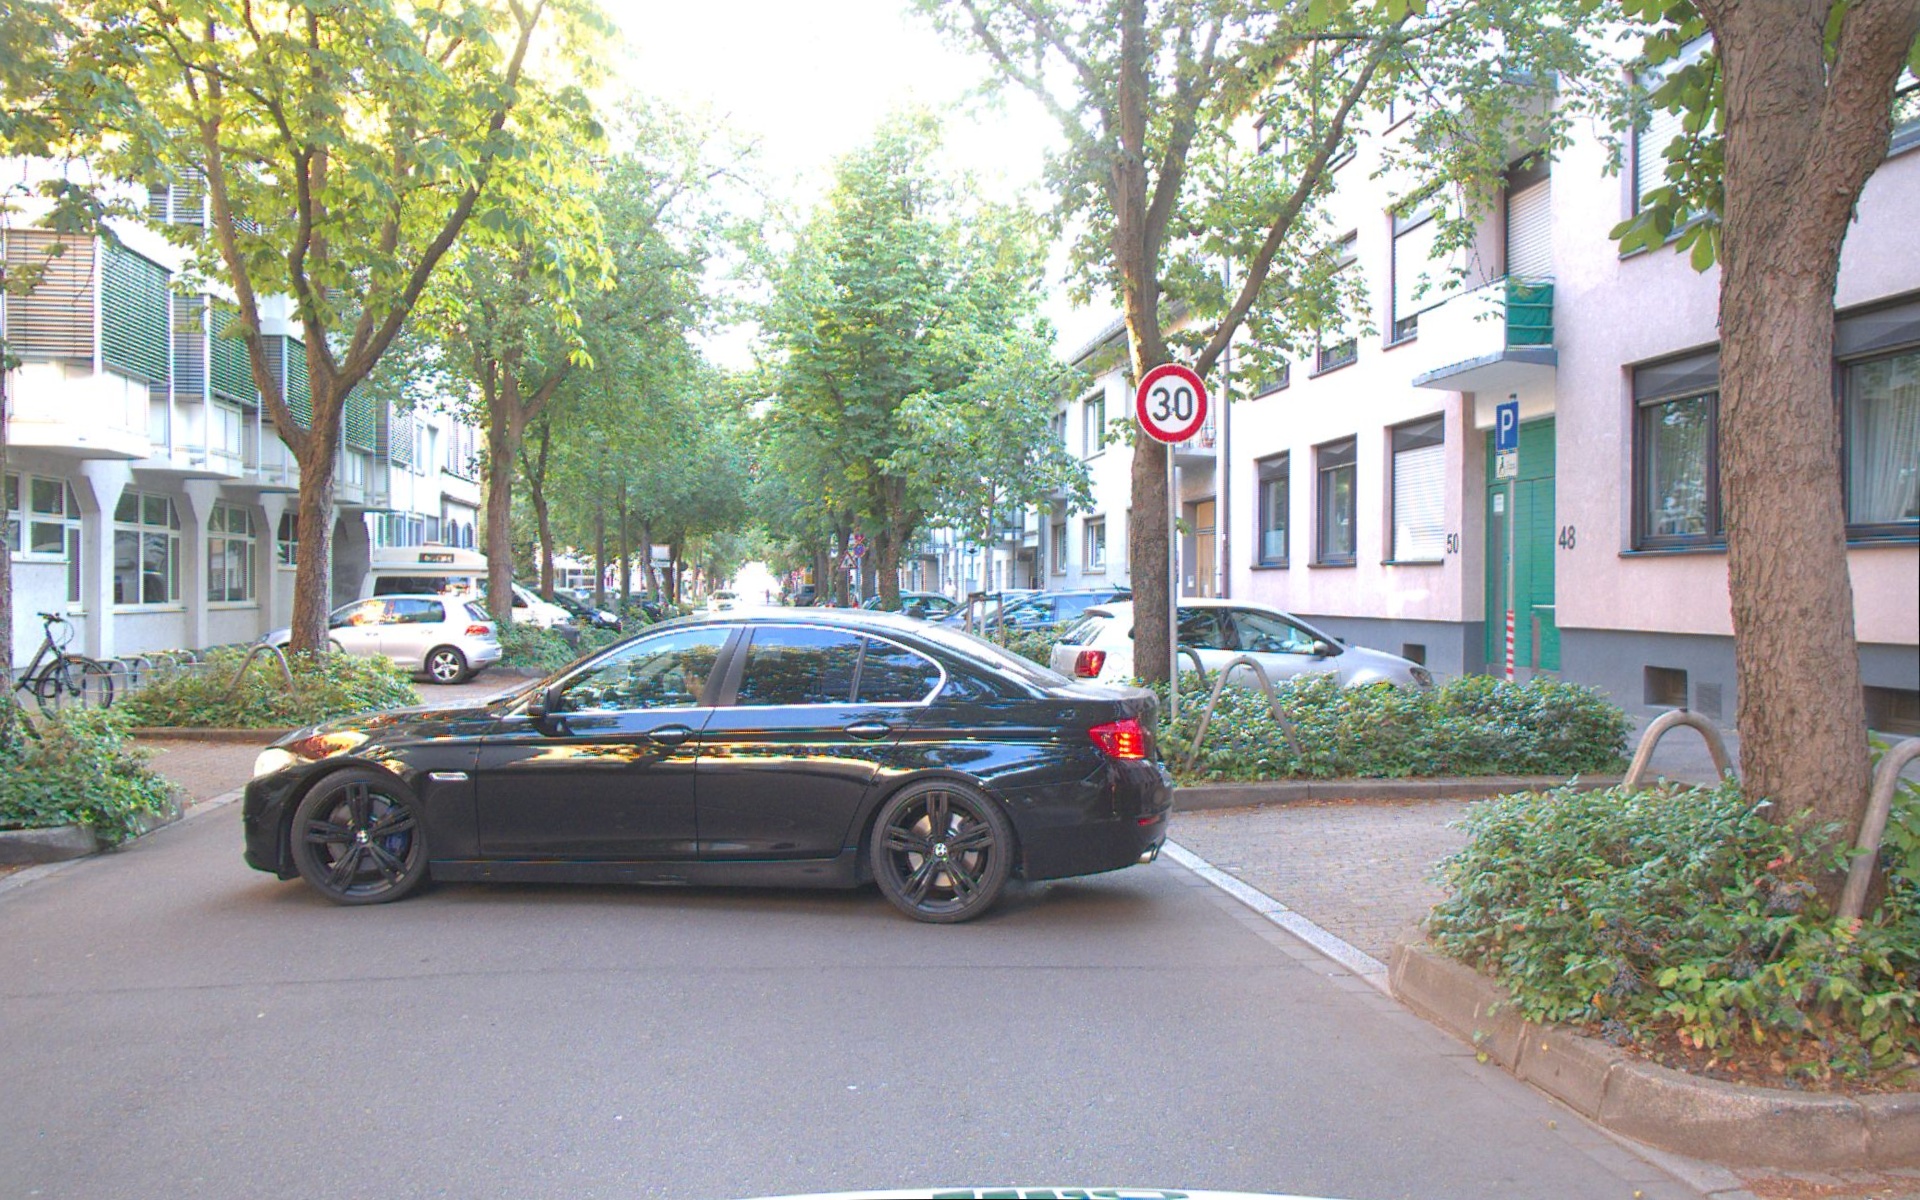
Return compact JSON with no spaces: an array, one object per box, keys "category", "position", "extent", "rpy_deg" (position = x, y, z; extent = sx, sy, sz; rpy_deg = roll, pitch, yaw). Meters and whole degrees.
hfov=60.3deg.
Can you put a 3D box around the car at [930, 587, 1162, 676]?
[{"category":"car","position":[1.510,0.536,29.691],"extent":[3.894,1.502,1.781],"rpy_deg":[0,0,-9]}]

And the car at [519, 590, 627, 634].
[{"category":"car","position":[-15.005,0.448,64.267],"extent":[3.891,1.647,1.783],"rpy_deg":[0,0,-6]}]

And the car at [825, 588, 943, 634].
[{"category":"car","position":[-2.622,0.366,56.772],"extent":[3.894,1.554,1.782],"rpy_deg":[0,0,-9]}]

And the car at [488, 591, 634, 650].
[{"category":"car","position":[-11.486,0.569,47.853],"extent":[3.892,1.647,1.783],"rpy_deg":[0,0,-6]}]

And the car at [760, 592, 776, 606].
[{"category":"car","position":[-21.975,-0.085,189.740],"extent":[1.787,1.557,3.995],"rpy_deg":[-1,0,-6]}]

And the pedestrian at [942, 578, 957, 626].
[{"category":"pedestrian","position":[-0.449,0.075,71.699],"extent":[0.577,2.049,0.669],"rpy_deg":[0,0,-6]}]

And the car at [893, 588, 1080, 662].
[{"category":"car","position":[0.547,0.527,36.143],"extent":[3.893,1.554,1.782],"rpy_deg":[0,0,-8]}]

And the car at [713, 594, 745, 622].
[{"category":"car","position":[-13.719,0.456,98.258],"extent":[1.745,1.589,4.162],"rpy_deg":[0,0,-6]}]

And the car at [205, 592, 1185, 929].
[{"category":"car","position":[-1.200,0.717,8.554],"extent":[4.644,1.506,1.801],"rpy_deg":[0,0,6]}]

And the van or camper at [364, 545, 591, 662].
[{"category":"van or camper","position":[-10.668,0.059,36.876],"extent":[4.575,2.521,1.997],"rpy_deg":[0,0,-7]}]

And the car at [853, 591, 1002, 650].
[{"category":"car","position":[-0.903,0.537,44.931],"extent":[3.893,1.554,1.782],"rpy_deg":[0,0,-8]}]

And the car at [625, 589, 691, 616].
[{"category":"car","position":[-18.659,0.152,102.221],"extent":[3.891,1.647,1.783],"rpy_deg":[0,0,-6]}]

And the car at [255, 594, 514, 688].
[{"category":"car","position":[-9.859,0.680,28.573],"extent":[3.892,1.544,1.783],"rpy_deg":[0,0,-6]}]

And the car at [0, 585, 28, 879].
[{"category":"car","position":[-7.102,0.707,7.862],"extent":[4.272,1.544,1.782],"rpy_deg":[0,0,-7]}]

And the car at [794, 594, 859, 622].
[{"category":"car","position":[-8.156,0.475,100.638],"extent":[3.891,1.713,1.783],"rpy_deg":[0,0,-6]}]

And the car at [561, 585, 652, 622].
[{"category":"car","position":[-16.185,0.168,75.890],"extent":[3.891,1.647,1.783],"rpy_deg":[0,0,-6]}]

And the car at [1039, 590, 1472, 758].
[{"category":"car","position":[2.811,0.664,16.101],"extent":[3.836,1.502,1.661],"rpy_deg":[0,0,-9]}]
